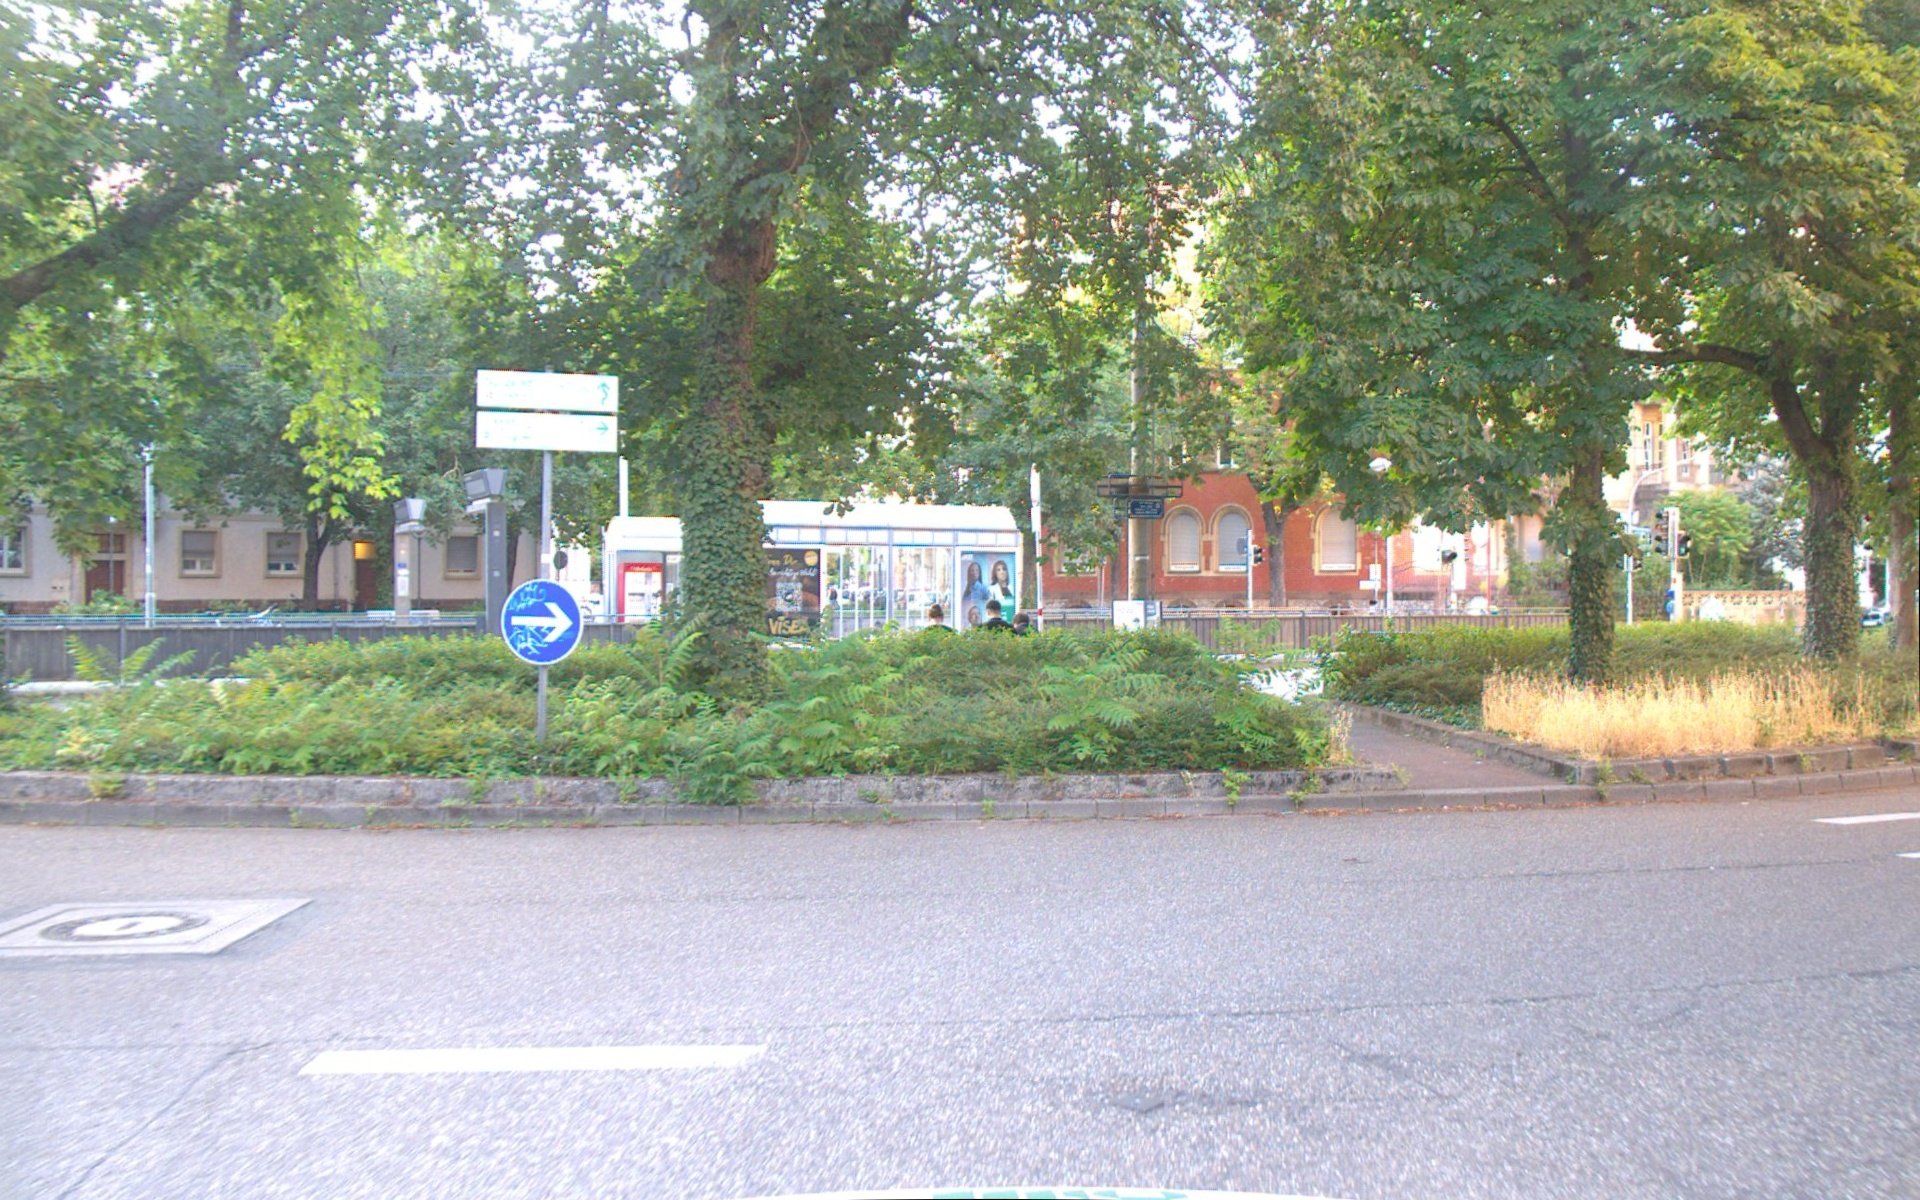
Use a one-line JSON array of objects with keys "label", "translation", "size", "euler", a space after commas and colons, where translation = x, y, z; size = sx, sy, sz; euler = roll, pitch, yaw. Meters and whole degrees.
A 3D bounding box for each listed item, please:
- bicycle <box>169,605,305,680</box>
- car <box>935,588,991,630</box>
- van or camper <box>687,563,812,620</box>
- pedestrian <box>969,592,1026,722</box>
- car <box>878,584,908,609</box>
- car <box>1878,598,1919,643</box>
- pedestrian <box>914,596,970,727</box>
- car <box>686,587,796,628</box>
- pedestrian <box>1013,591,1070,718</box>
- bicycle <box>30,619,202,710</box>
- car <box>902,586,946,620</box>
[{"label": "bicycle", "translation": [-10.761, 0.620, 24.637], "size": [1.827, 1.070, 0.542], "euler": [0, 0, -27]}, {"label": "car", "translation": [0.103, 0.361, 72.436], "size": [1.955, 1.733, 4.714], "euler": [1, 0, -6]}, {"label": "van or camper", "translation": [-12.502, -0.494, 98.083], "size": [7.230, 3.137, 2.668], "euler": [1, 0, -9]}, {"label": "pedestrian", "translation": [0.424, 0.641, 19.002], "size": [0.604, 1.456, 0.655], "euler": [0, 1, -4]}, {"label": "car", "translation": [-5.050, -0.271, 124.048], "size": [1.955, 1.733, 4.714], "euler": [1, 0, -6]}, {"label": "car", "translation": [34.594, 0.701, 58.047], "size": [4.346, 1.536, 1.936], "euler": [0, 0, -23]}, {"label": "pedestrian", "translation": [-0.208, 0.683, 18.854], "size": [0.604, 1.456, 0.655], "euler": [0, 1, -4]}, {"label": "car", "translation": [-10.012, 0.335, 75.500], "size": [4.859, 1.733, 1.996], "euler": [1, 0, -9]}, {"label": "pedestrian", "translation": [0.948, 0.627, 19.412], "size": [0.604, 1.456, 0.655], "euler": [0, 1, -4]}, {"label": "bicycle", "translation": [-11.614, 0.861, 22.803], "size": [2.084, 1.171, 0.680], "euler": [0, 0, -29]}, {"label": "car", "translation": [-1.977, 0.152, 88.627], "size": [1.955, 1.733, 4.714], "euler": [1, 0, -6]}]
